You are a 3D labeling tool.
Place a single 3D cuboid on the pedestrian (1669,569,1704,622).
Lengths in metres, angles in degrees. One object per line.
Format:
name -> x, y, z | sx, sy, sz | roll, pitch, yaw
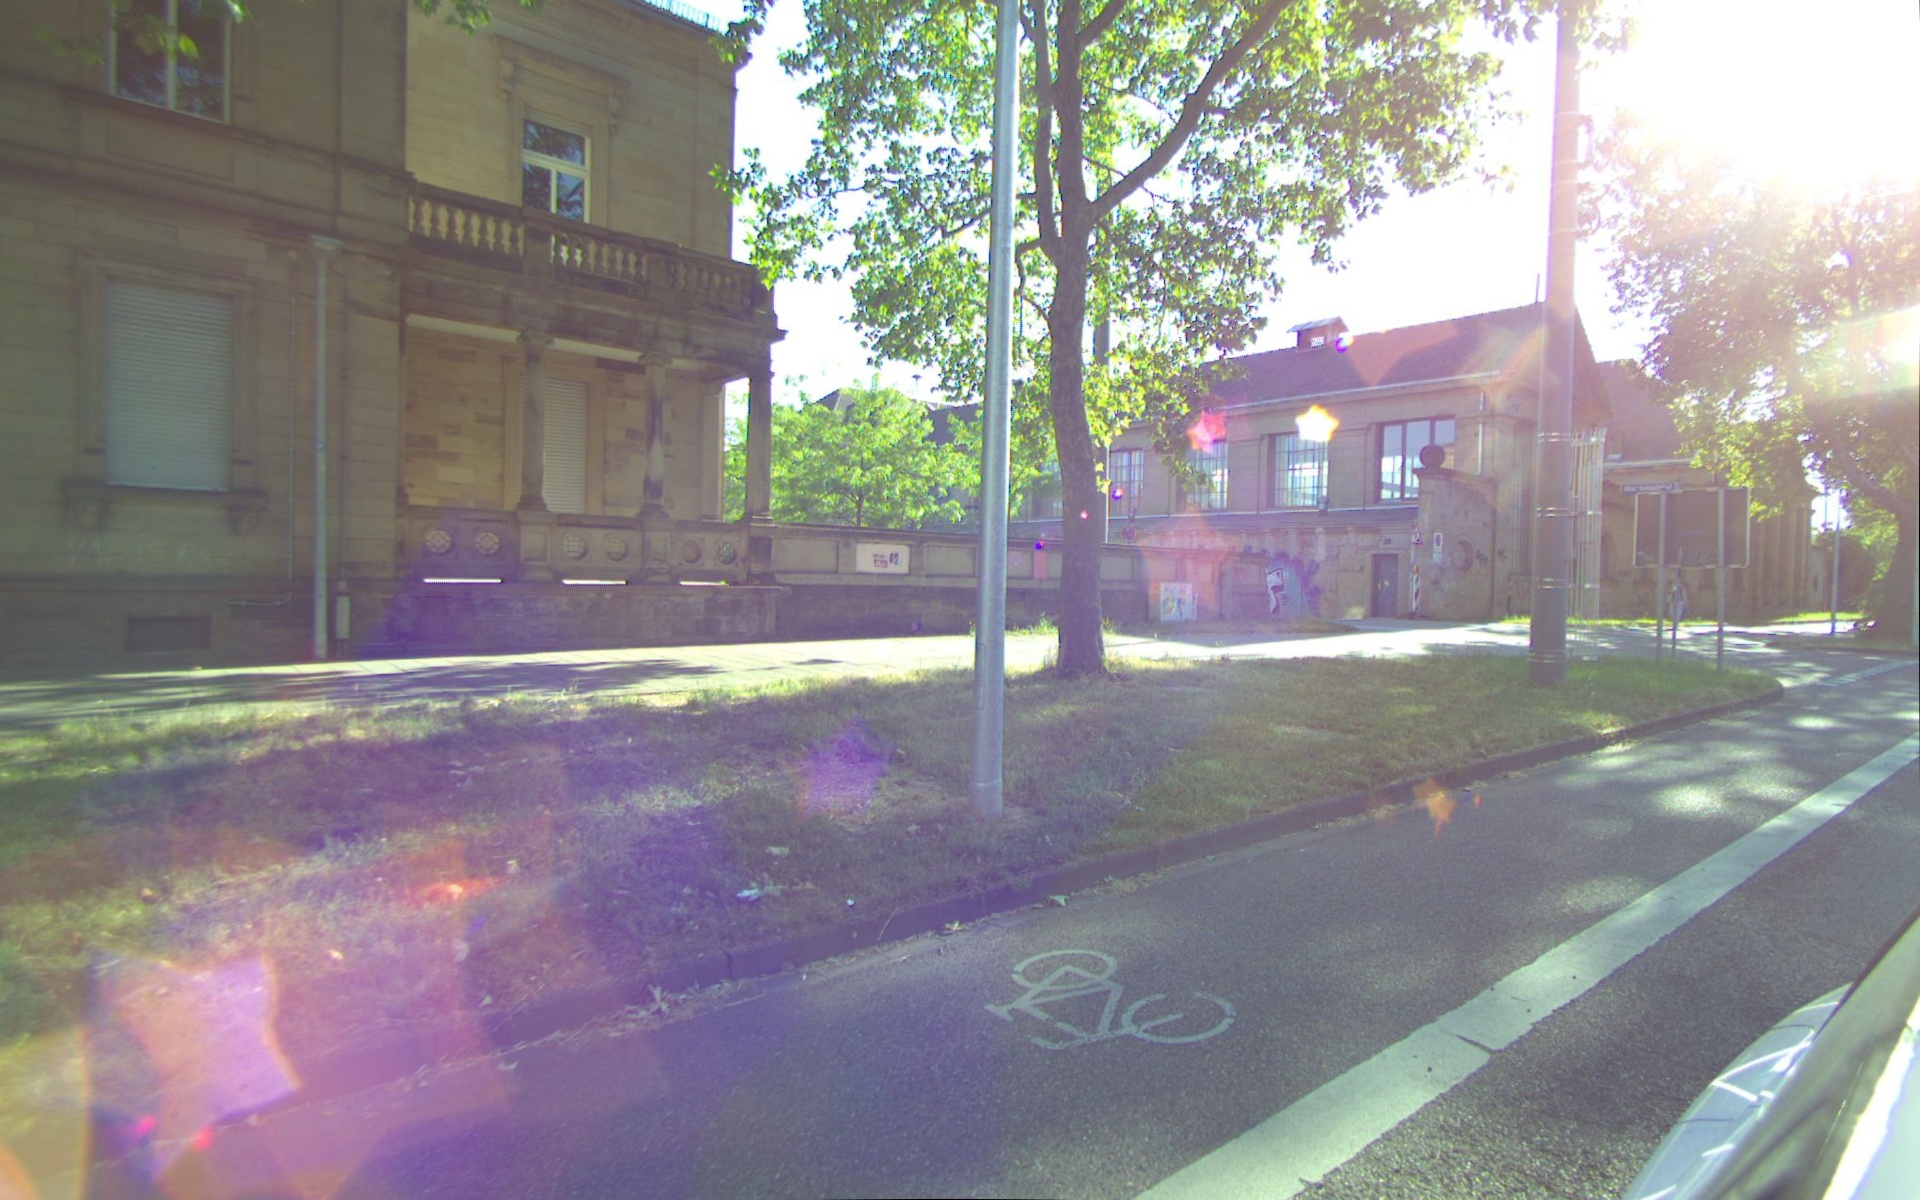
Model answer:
pedestrian -> 23.564, -0.152, 32.823 | 0.858, 1.682, 0.672 | 0, 2, -39
